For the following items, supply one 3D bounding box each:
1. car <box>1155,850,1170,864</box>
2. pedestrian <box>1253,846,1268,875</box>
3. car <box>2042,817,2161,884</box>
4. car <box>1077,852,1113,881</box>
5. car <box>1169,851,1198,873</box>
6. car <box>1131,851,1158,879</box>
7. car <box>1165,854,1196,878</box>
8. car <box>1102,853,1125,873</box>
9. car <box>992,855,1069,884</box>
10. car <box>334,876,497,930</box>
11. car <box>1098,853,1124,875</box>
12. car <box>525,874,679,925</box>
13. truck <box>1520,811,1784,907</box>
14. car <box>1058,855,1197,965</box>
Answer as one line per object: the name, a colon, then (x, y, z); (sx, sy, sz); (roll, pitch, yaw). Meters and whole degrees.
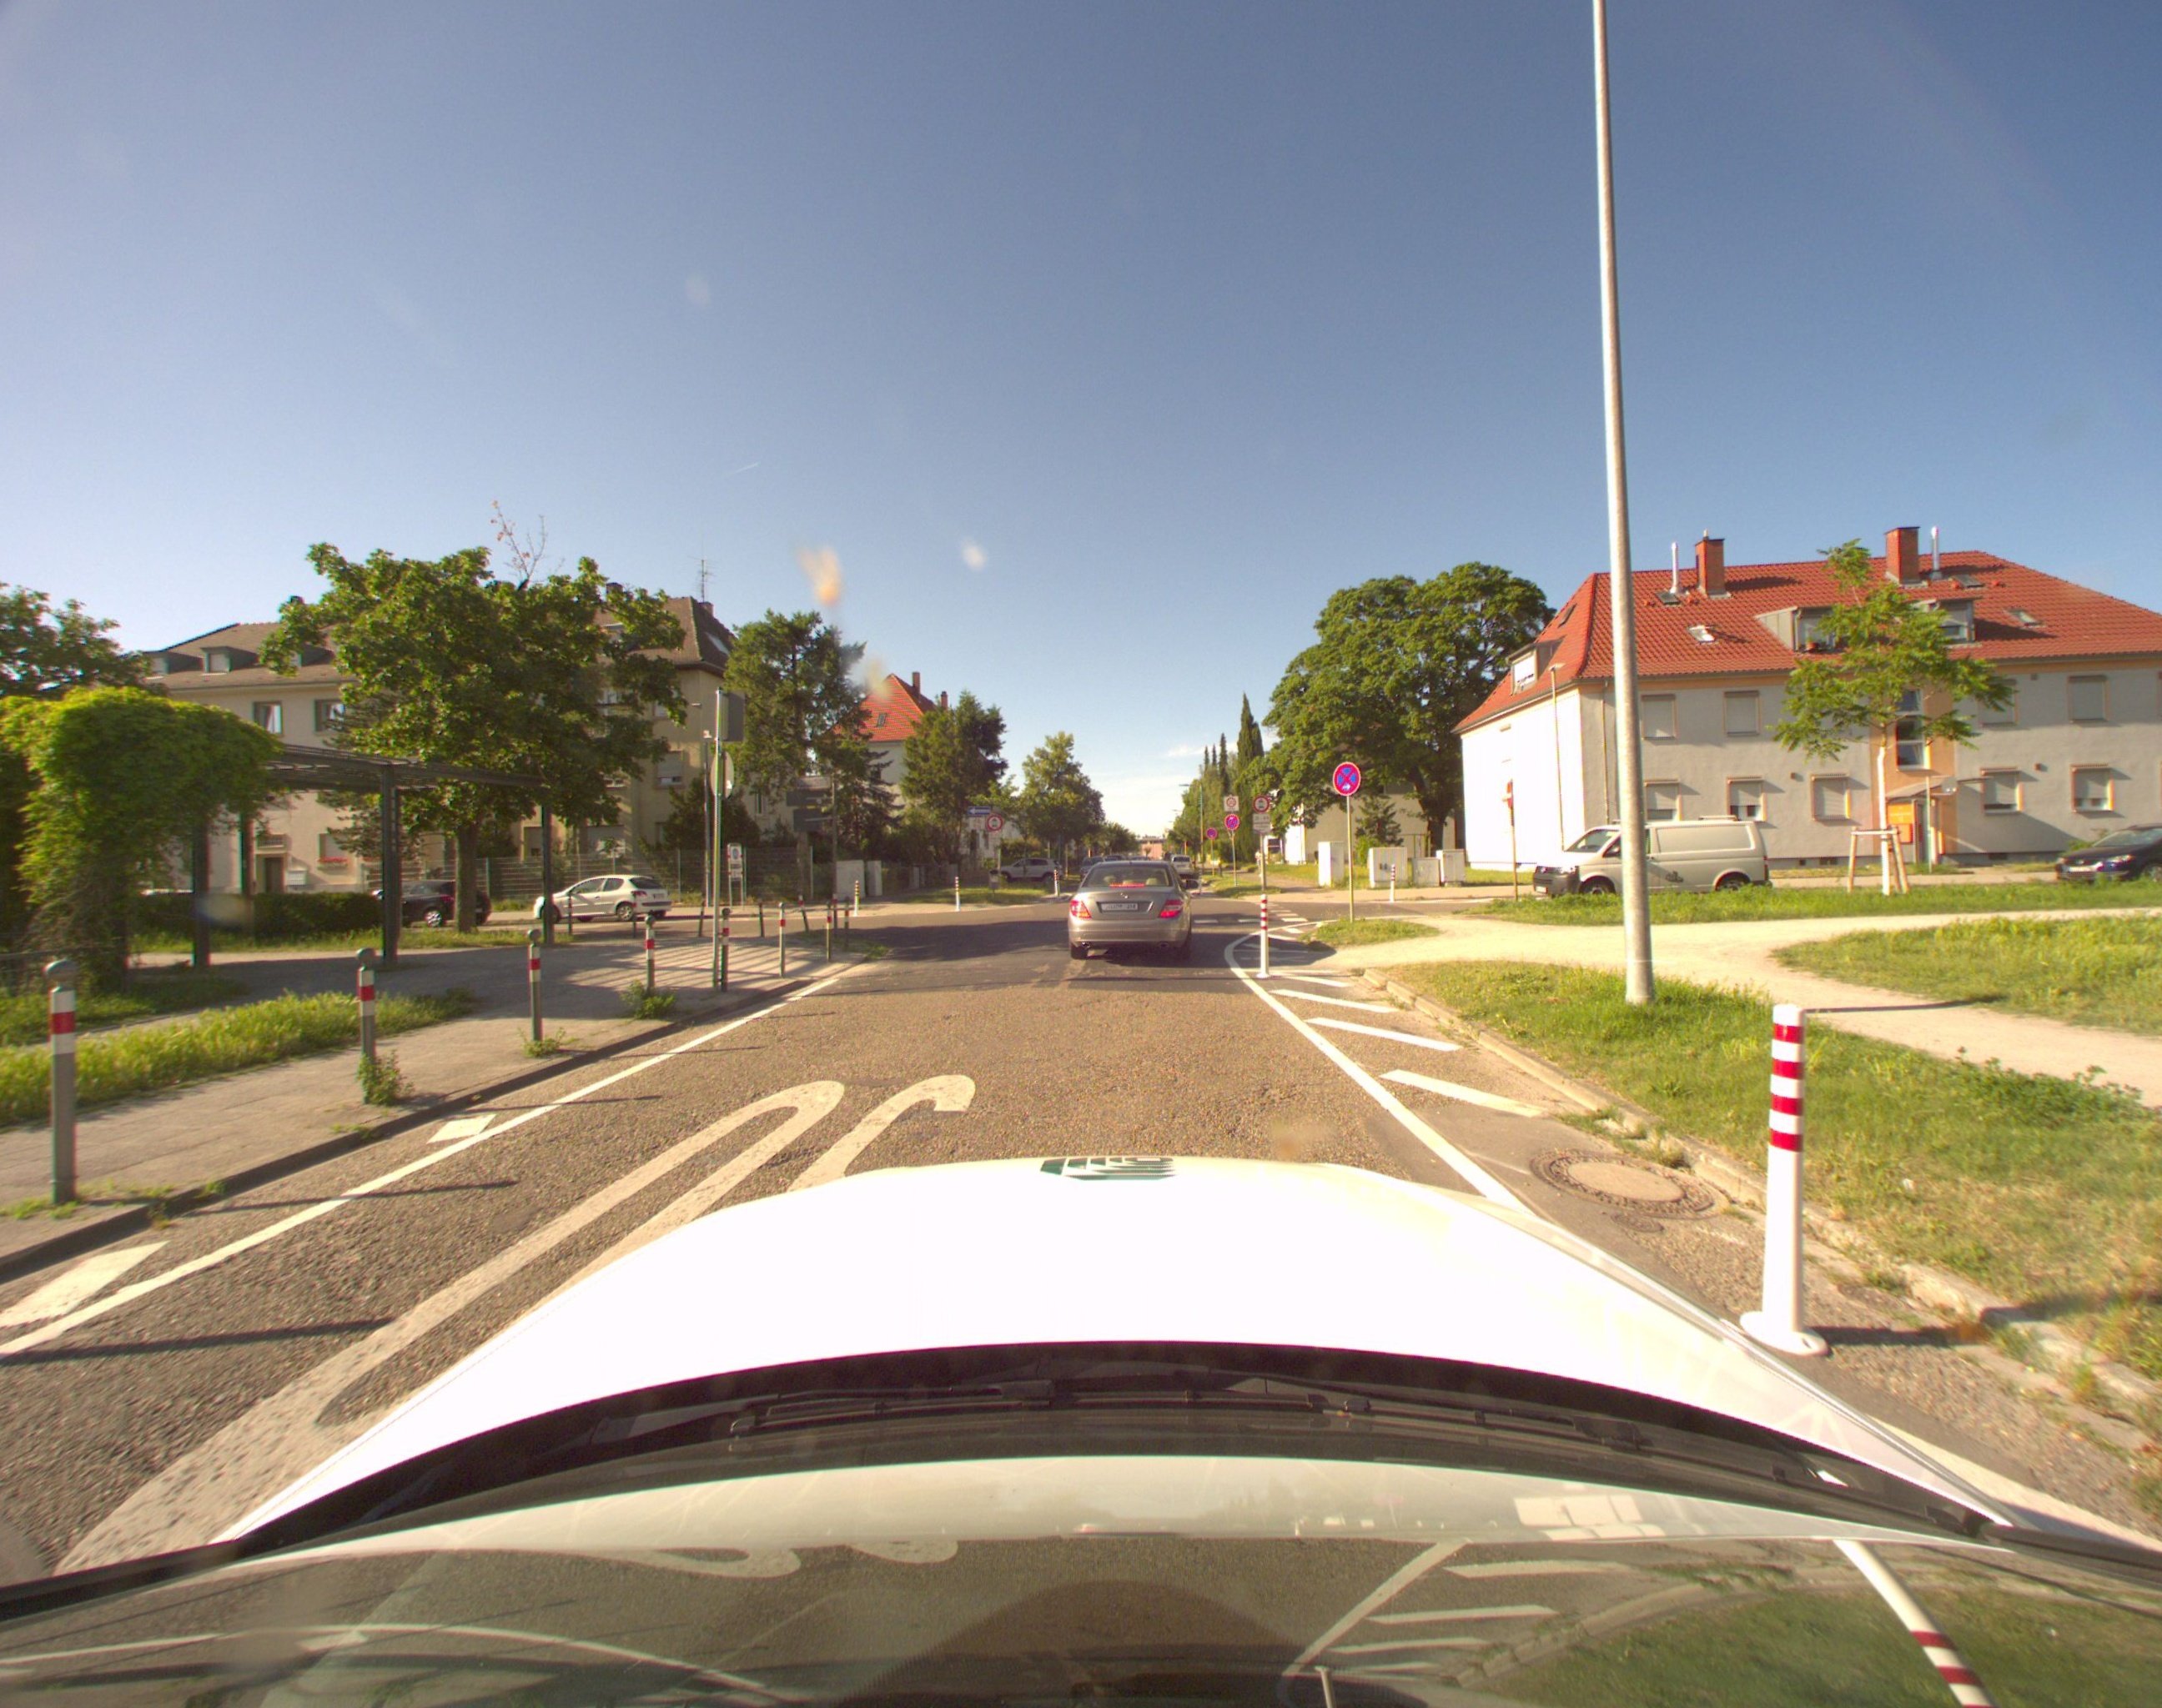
car: (10.867, 0.411, 109.107); (1.846, 1.841, 4.005); (-2, 0, 4)
pedestrian: (10.409, 0.366, 47.264); (0.761, 1.611, 0.836); (-2, 0, 10)
car: (28.188, -0.140, 21.208); (4.031, 1.664, 1.724); (-2, 0, 5)
car: (0.957, 0.774, 51.488); (1.985, 1.609, 4.003); (-5, 0, 3)
car: (8.016, 0.586, 64.129); (1.985, 1.609, 4.003); (-2, 0, 3)
car: (3.921, 0.657, 50.704); (1.590, 1.609, 3.647); (-2, 0, 3)
car: (6.467, 0.761, 53.384); (1.726, 1.480, 3.728); (-2, 0, 3)
car: (3.027, 0.808, 75.035); (1.985, 1.609, 4.003); (-5, 0, 3)
car: (-2.862, 0.852, 46.620); (4.176, 1.564, 1.843); (-1, 0, 2)
car: (-20.656, 1.512, 25.370); (3.795, 1.495, 1.679); (-2, -1, 5)
car: (2.560, 0.804, 69.252); (1.985, 1.609, 4.003); (-5, 0, 3)
car: (-14.698, 1.369, 25.108); (3.746, 1.398, 1.709); (-2, -1, 4)
truck: (13.583, 0.124, 19.634); (4.835, 2.036, 2.003); (-2, 0, 5)
car: (0.833, 0.748, 12.820); (1.827, 1.441, 4.007); (-1, 0, 6)
